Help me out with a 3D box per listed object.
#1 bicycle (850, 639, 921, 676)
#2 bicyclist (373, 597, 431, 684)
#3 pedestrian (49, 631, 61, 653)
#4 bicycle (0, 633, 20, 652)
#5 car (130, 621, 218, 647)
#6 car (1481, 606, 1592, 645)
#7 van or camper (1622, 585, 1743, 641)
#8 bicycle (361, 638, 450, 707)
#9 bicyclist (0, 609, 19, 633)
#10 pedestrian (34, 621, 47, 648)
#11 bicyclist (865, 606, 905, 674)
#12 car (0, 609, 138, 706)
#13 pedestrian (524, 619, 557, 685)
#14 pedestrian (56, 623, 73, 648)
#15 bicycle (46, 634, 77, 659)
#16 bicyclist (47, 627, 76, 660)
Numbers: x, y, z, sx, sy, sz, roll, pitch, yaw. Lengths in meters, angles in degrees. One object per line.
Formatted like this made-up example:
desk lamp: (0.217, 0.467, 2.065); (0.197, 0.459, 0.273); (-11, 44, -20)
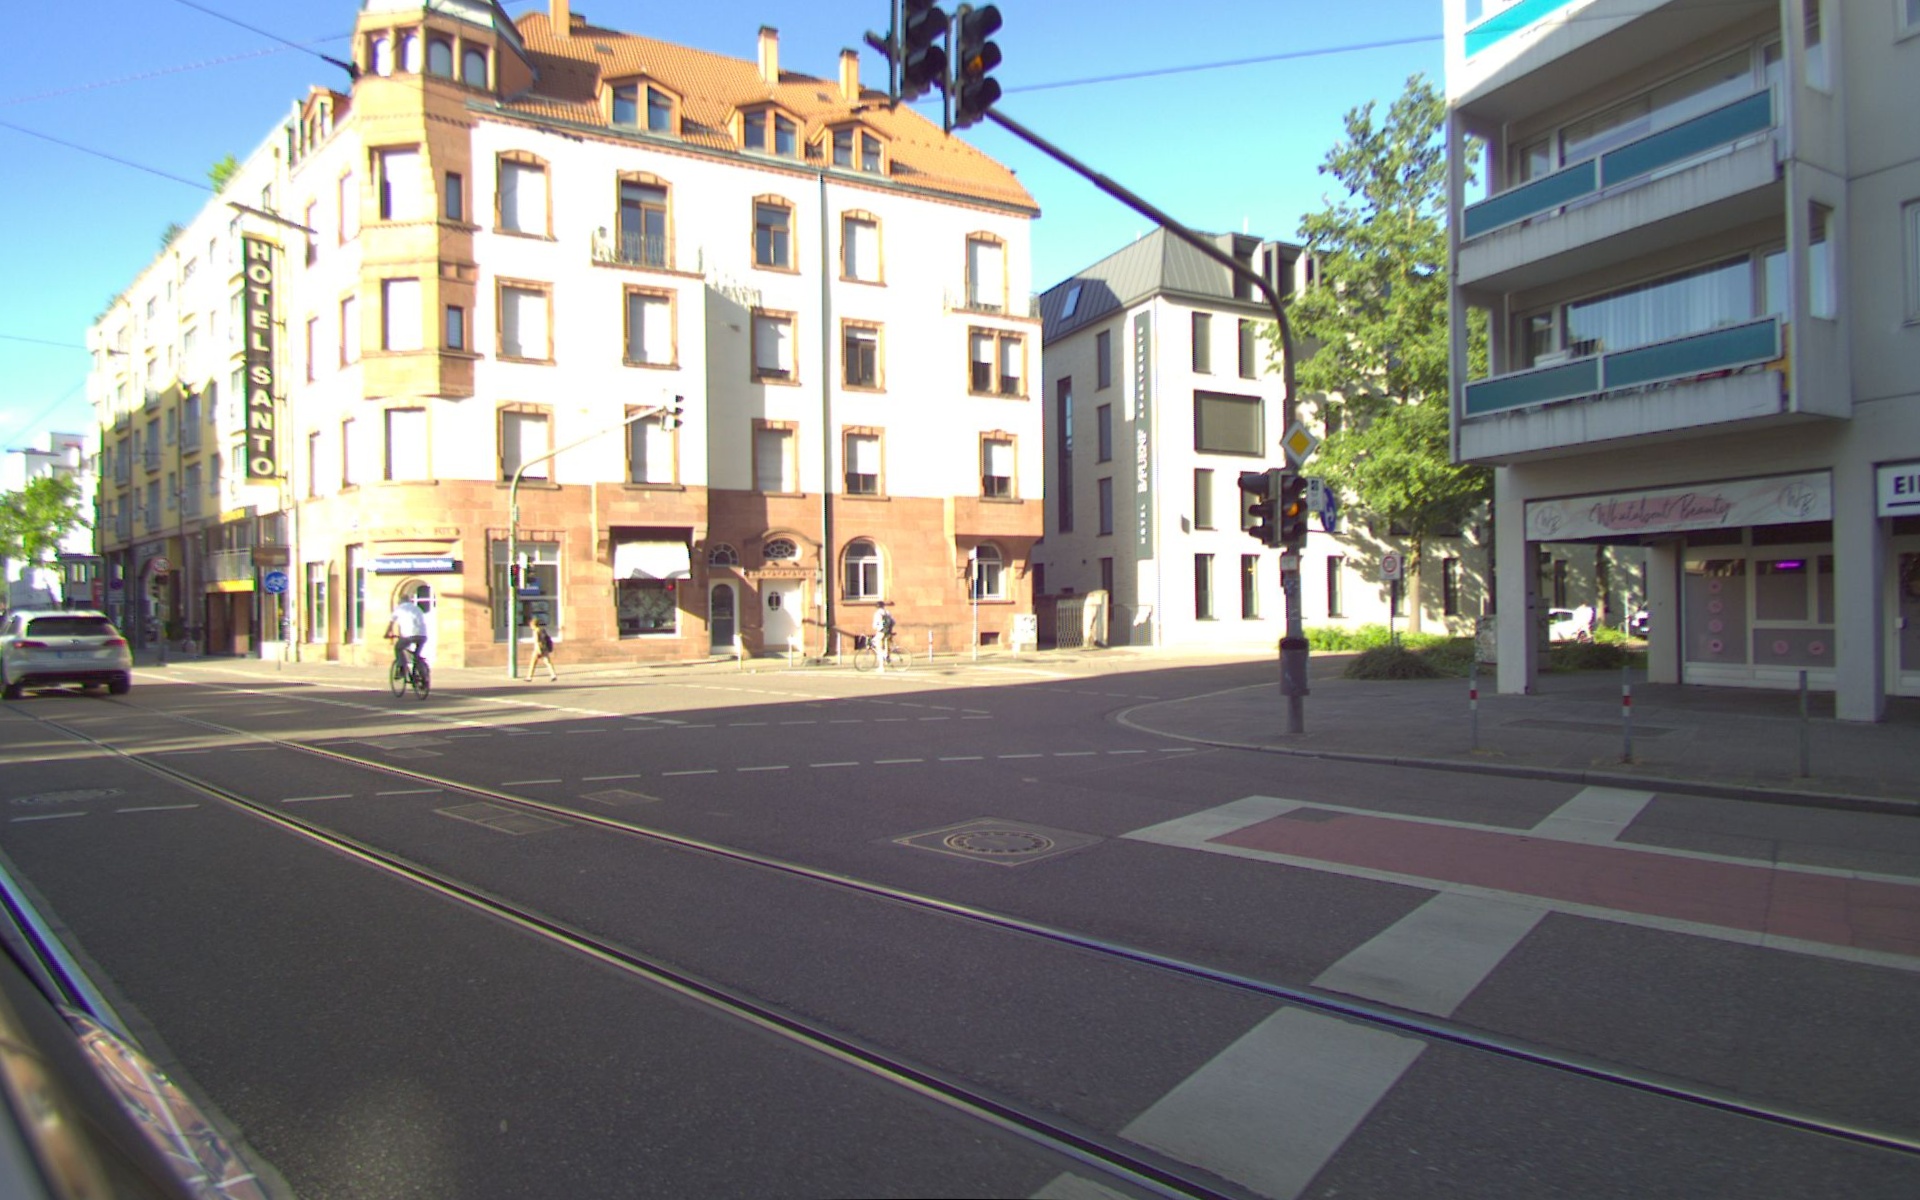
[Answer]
bicycle: (-1.963, 1.510, 26.688); (1.789, 0.916, 0.791); (-1, -1, 2)
bicyclist: (-9.906, 0.701, 17.963); (0.778, 1.494, 0.675); (-2, -1, 40)
pedestrian: (-65.912, 3.048, 73.701); (0.499, 1.629, 0.566); (-2, -2, 40)
bicycle: (-57.464, 2.545, 61.159); (2.060, 1.096, 0.723); (-2, -1, 40)
car: (-50.331, 2.174, 64.886); (1.784, 1.560, 4.189); (1, 0, 41)
car: (23.553, 1.025, 41.343); (3.930, 1.475, 2.006); (0, -1, -25)
van or camper: (32.610, 0.570, 45.660); (5.380, 2.383, 2.006); (0, -1, -25)
bicycle: (-9.876, 1.261, 17.984); (2.082, 1.129, 0.685); (-2, -1, 40)
bicyclist: (-57.534, 1.268, 61.252); (1.226, 1.391, 0.717); (-1, -1, 39)
pedestrian: (-66.592, 2.505, 73.303); (0.708, 1.961, 0.631); (-2, -1, 39)
bicyclist: (-1.972, 1.046, 26.662); (0.961, 1.777, 0.615); (-1, -1, 1)
car: (-18.673, 1.105, 20.775); (4.559, 1.757, 1.973); (-1, -1, 40)
pedestrian: (-10.113, 1.246, 24.396); (0.515, 1.564, 0.537); (-1, -1, 39)
pedestrian: (-63.676, 2.513, 71.979); (0.777, 1.777, 0.708); (-1, -1, 32)
bicycle: (-39.656, 2.055, 44.651); (2.059, 1.073, 0.723); (-2, -1, 39)
bicyclist: (-39.726, 1.911, 44.736); (1.467, 1.391, 0.728); (-2, -1, 40)
